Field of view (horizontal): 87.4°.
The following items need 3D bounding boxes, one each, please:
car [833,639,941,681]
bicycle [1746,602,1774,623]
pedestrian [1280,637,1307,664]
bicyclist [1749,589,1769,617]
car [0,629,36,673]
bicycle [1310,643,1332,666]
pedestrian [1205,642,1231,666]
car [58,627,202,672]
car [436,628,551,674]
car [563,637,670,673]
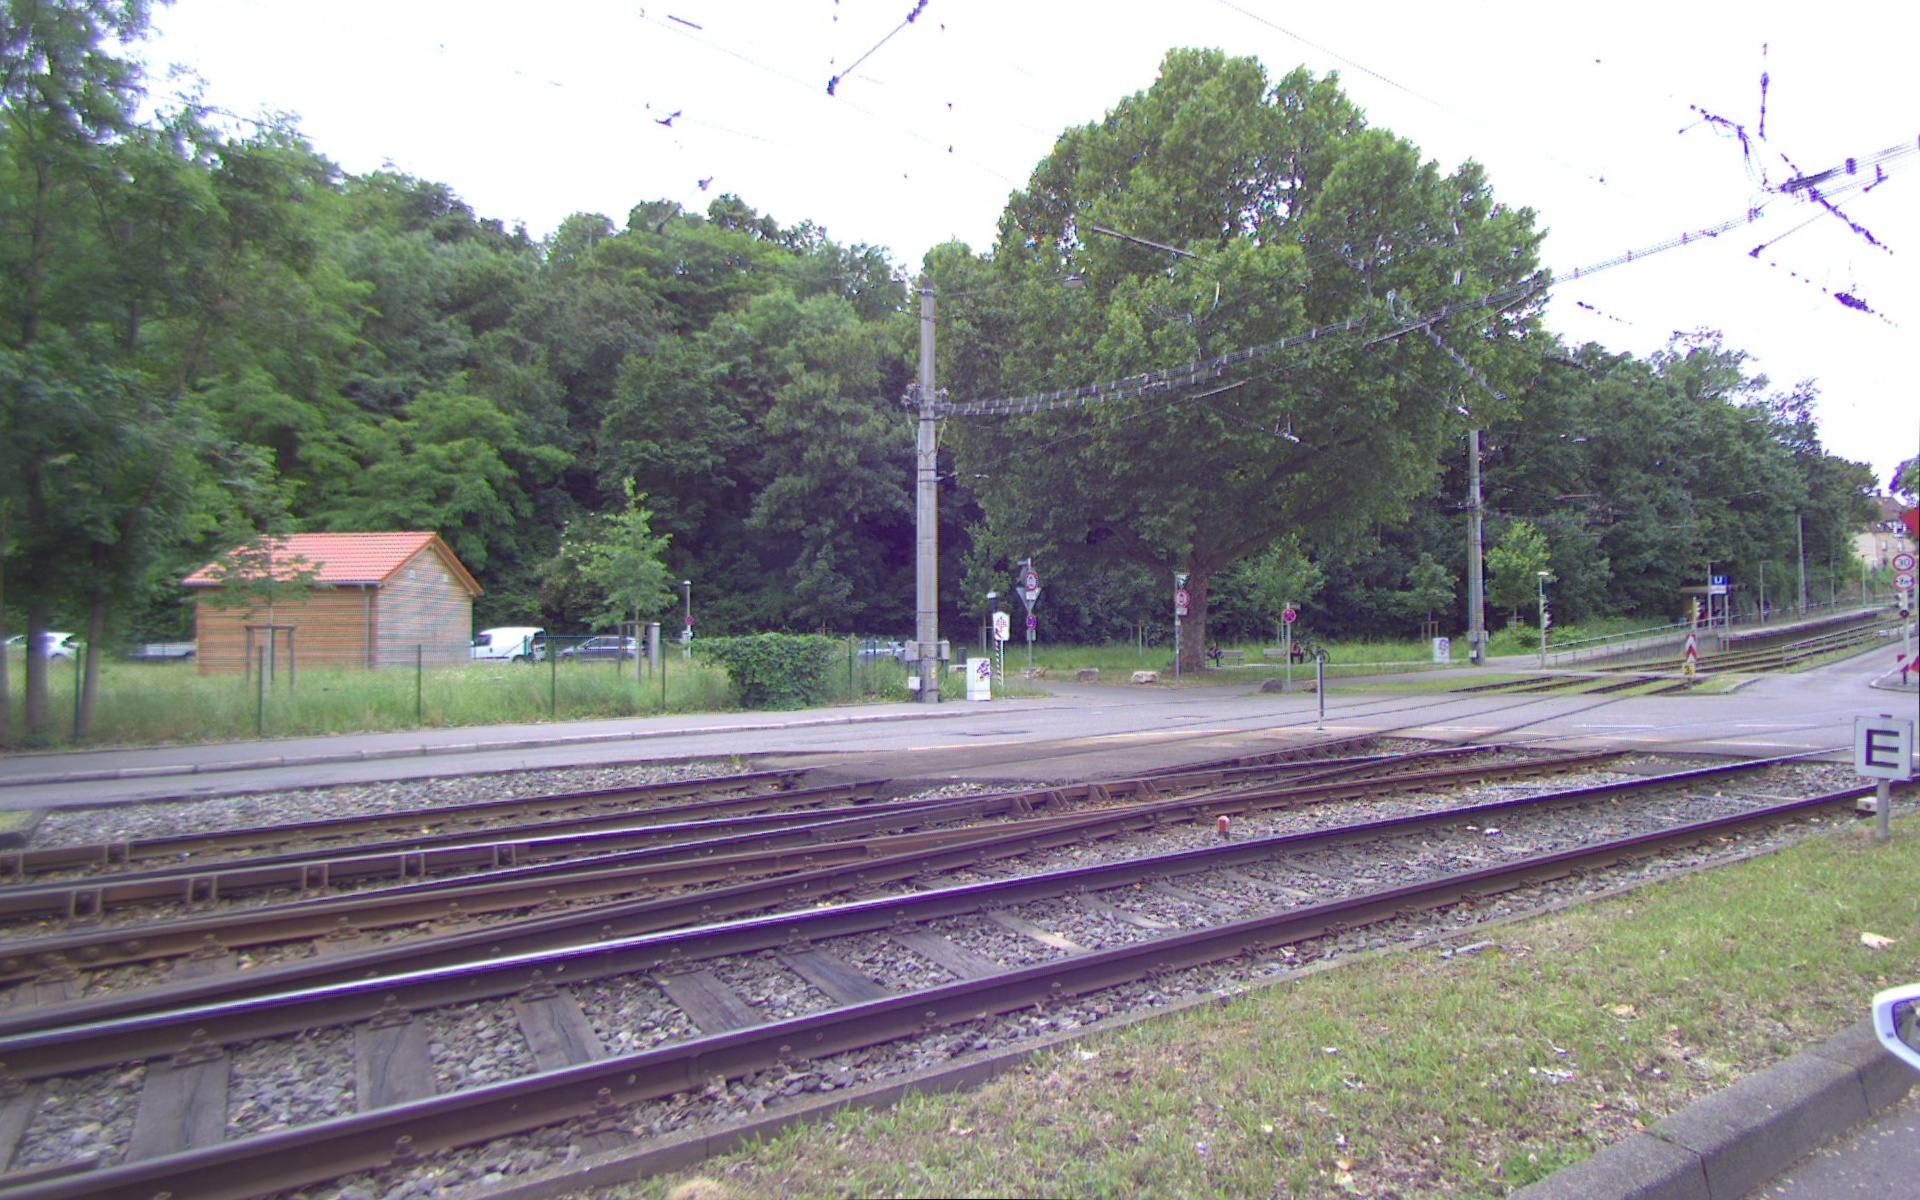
[{"bbox_3d":[-3.404,2.808,47.642,4.985,1.913,2.355,0,-2,-2],"label":"car"},{"bbox_3d":[55.577,0.857,69.770,2.970,1.361,0.817,-2,-1,-39],"label":"bicycle"},{"bbox_3d":[16.399,2.475,49.412,1.035,1.284,1.117,2,-1,8],"label":"pedestrian"},{"bbox_3d":[55.331,0.191,69.587,1.042,1.873,0.815,-2,-1,-38],"label":"bicyclist"},{"bbox_3d":[-38.356,1.971,38.529,3.921,1.683,2.000,0,-2,0],"label":"car"},{"bbox_3d":[17.649,2.656,49.145,0.662,1.025,1.654,2,-1,8],"label":"bicycle"},{"bbox_3d":[12.524,2.604,48.788,1.059,1.110,0.906,2,-1,5],"label":"pedestrian"},{"bbox_3d":[-32.521,1.921,39.449,3.921,1.683,2.000,0,-2,0],"label":"car"},{"bbox_3d":[-21.282,2.314,46.009,4.320,2.040,1.999,0,-2,-5],"label":"car"},{"bbox_3d":[-15.701,2.500,46.126,4.320,1.603,1.999,0,-2,-6],"label":"car"}]
